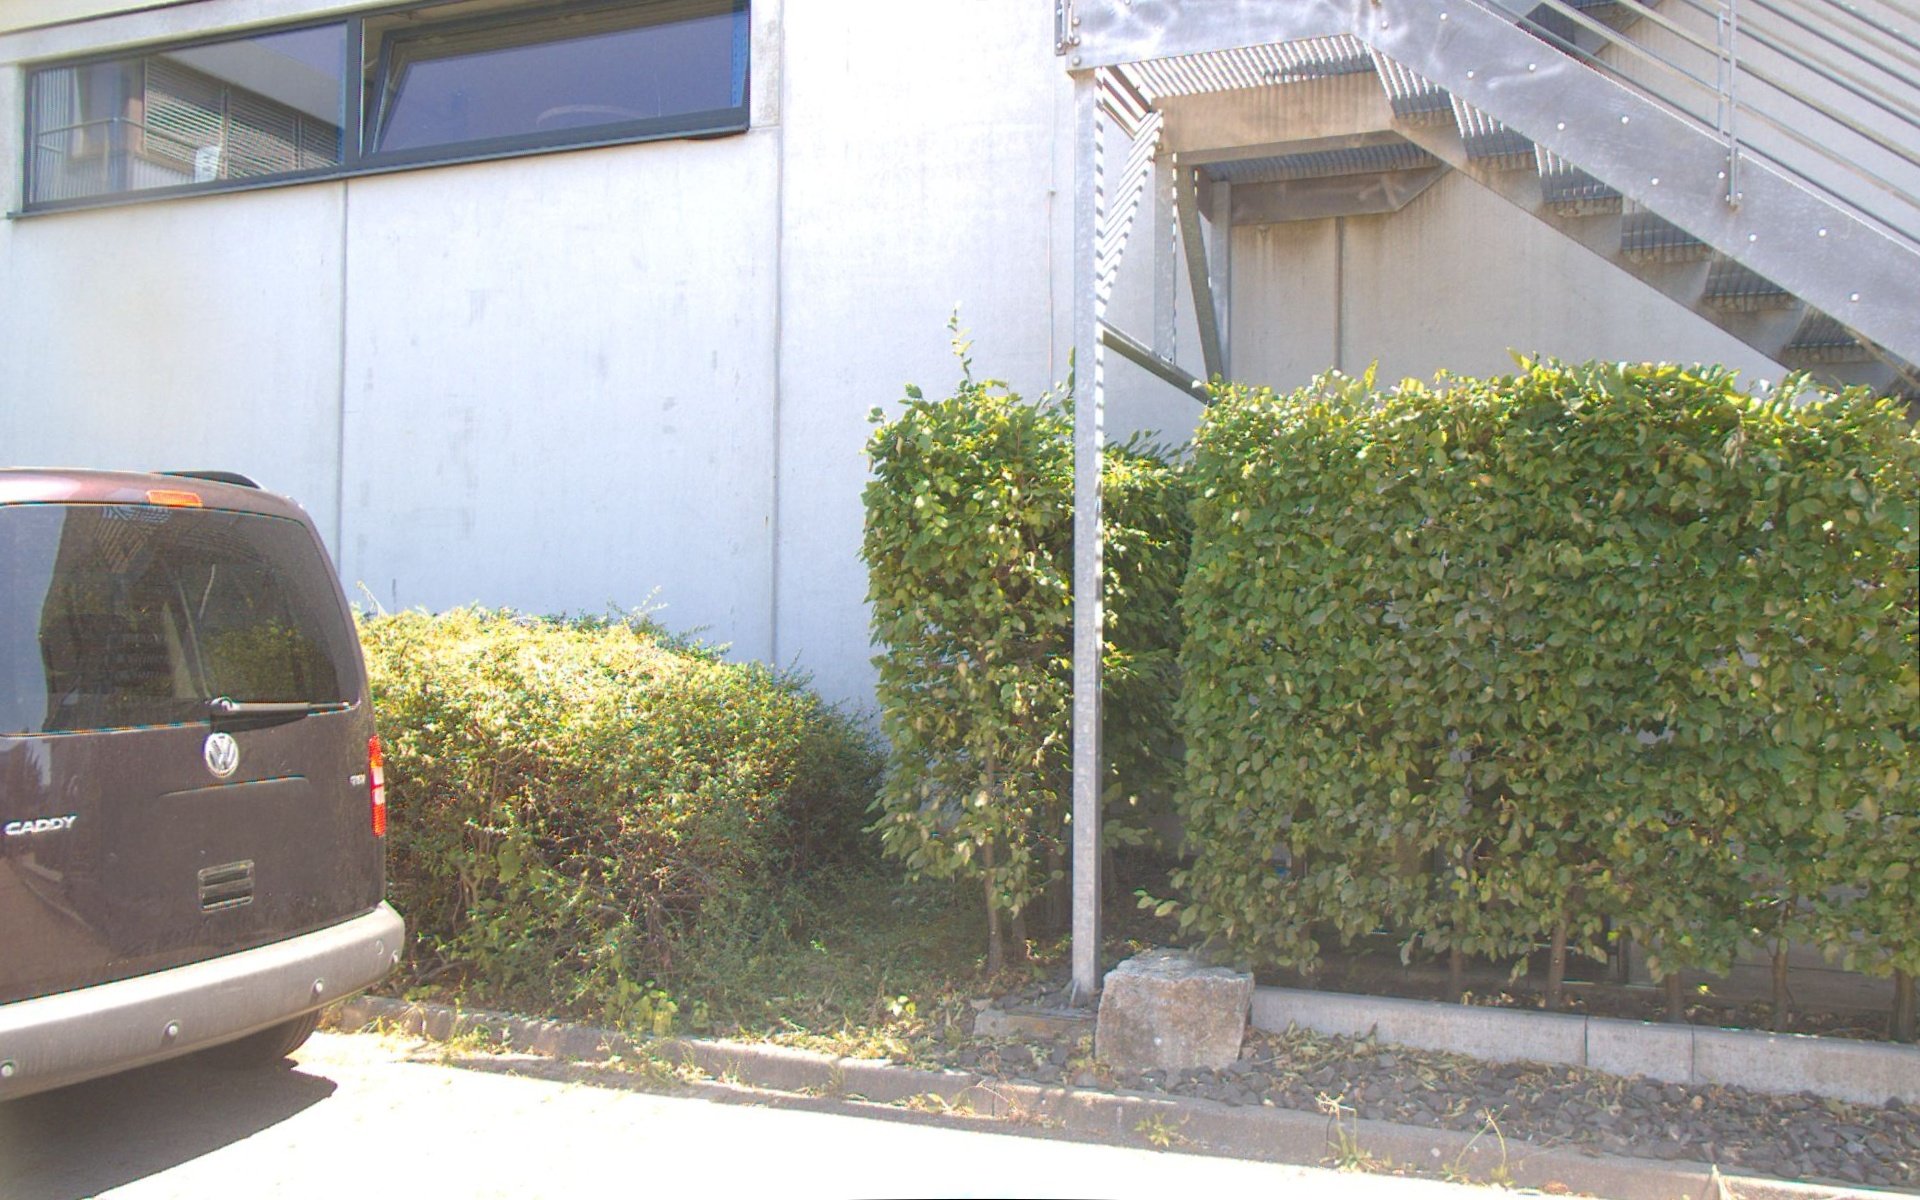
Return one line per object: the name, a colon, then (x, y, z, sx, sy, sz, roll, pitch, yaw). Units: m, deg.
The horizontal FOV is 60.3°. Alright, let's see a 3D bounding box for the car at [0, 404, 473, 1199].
car: (-3.661, 0.529, 5.099, 3.975, 1.917, 1.678, 0, 0, 23)
